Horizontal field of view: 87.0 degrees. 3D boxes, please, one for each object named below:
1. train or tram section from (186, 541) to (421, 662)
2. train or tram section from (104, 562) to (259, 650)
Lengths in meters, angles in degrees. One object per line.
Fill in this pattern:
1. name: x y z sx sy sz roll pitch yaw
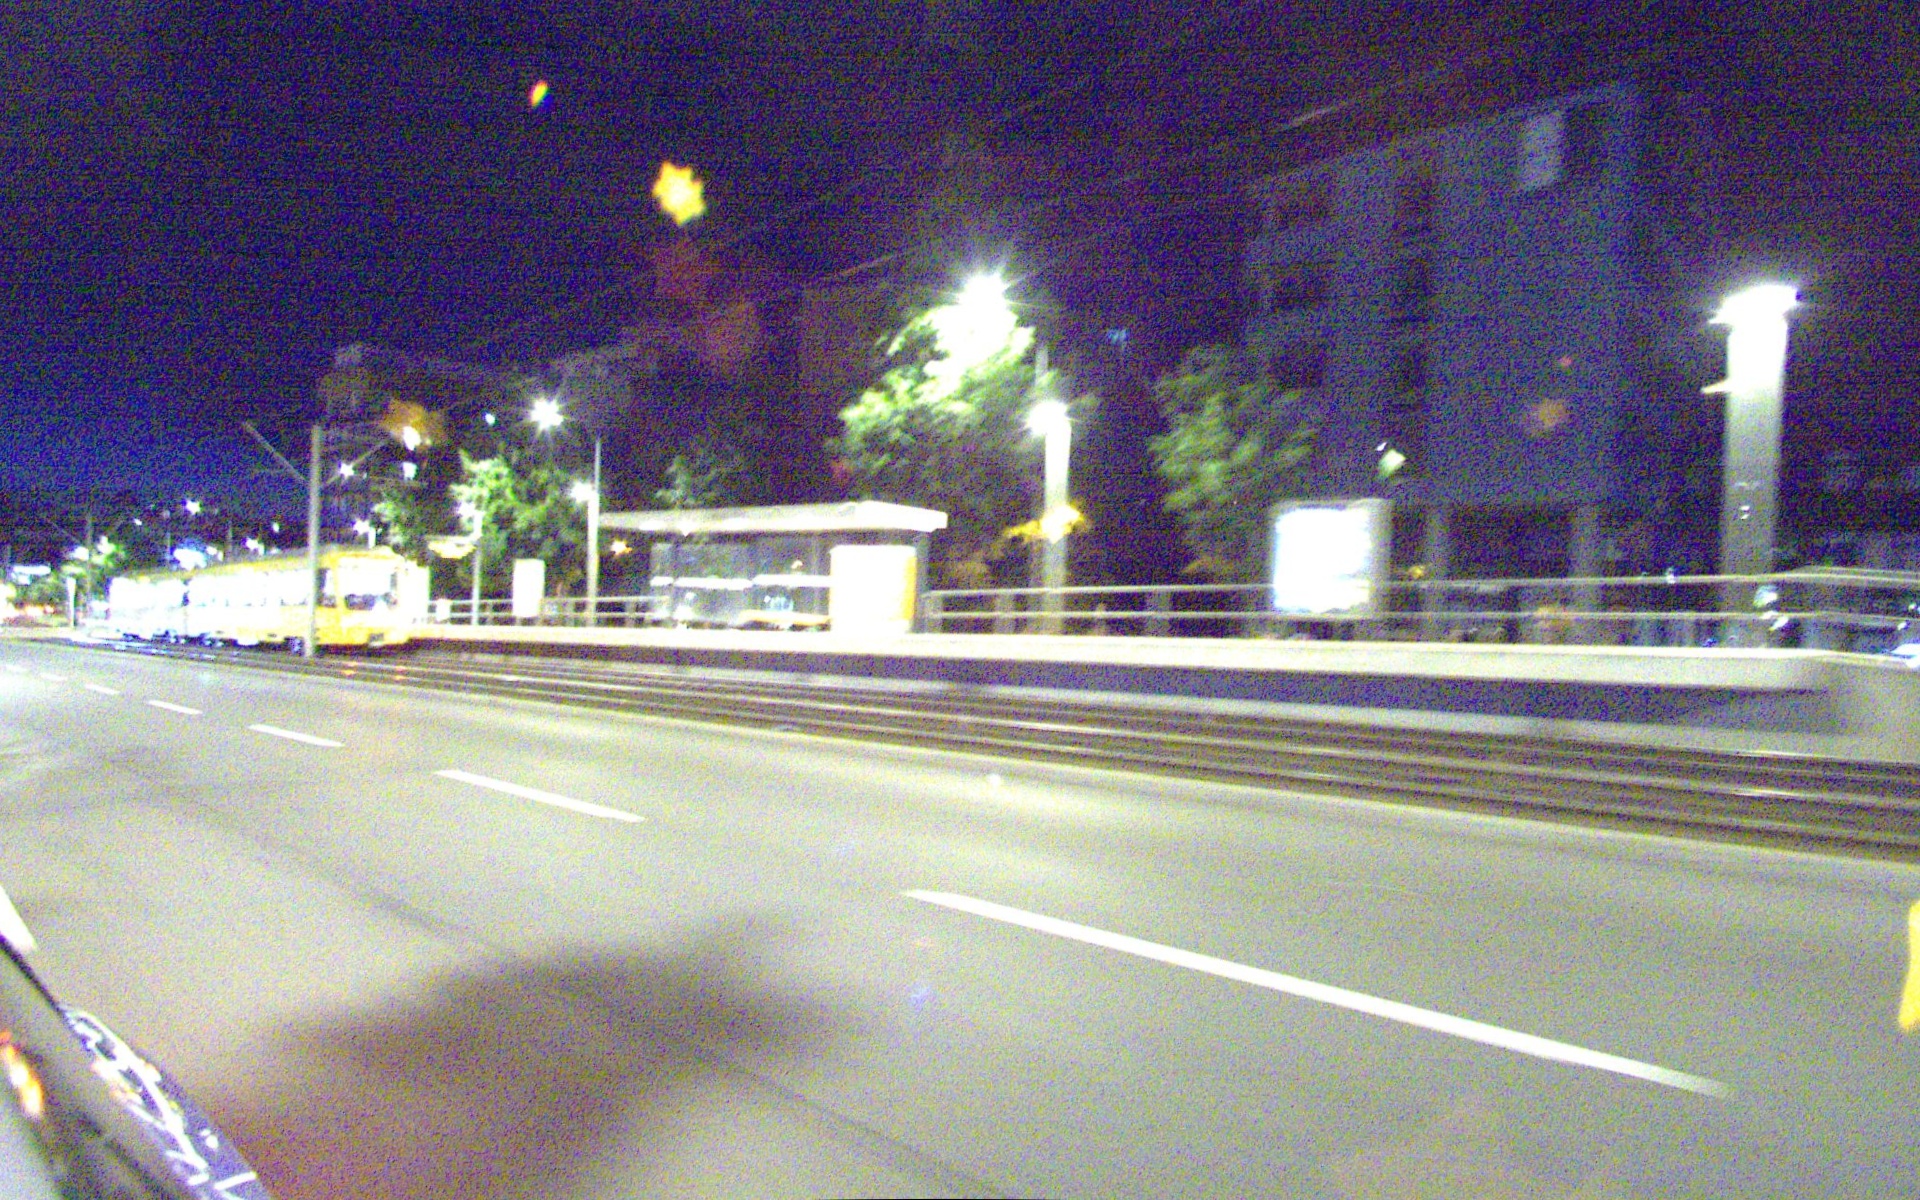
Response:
1. train or tram section: -26.149 0.152 39.399 18.661 3.856 2.730 -1 -1 41
2. train or tram section: -40.411 0.354 51.982 19.355 3.875 2.709 -1 -1 42
